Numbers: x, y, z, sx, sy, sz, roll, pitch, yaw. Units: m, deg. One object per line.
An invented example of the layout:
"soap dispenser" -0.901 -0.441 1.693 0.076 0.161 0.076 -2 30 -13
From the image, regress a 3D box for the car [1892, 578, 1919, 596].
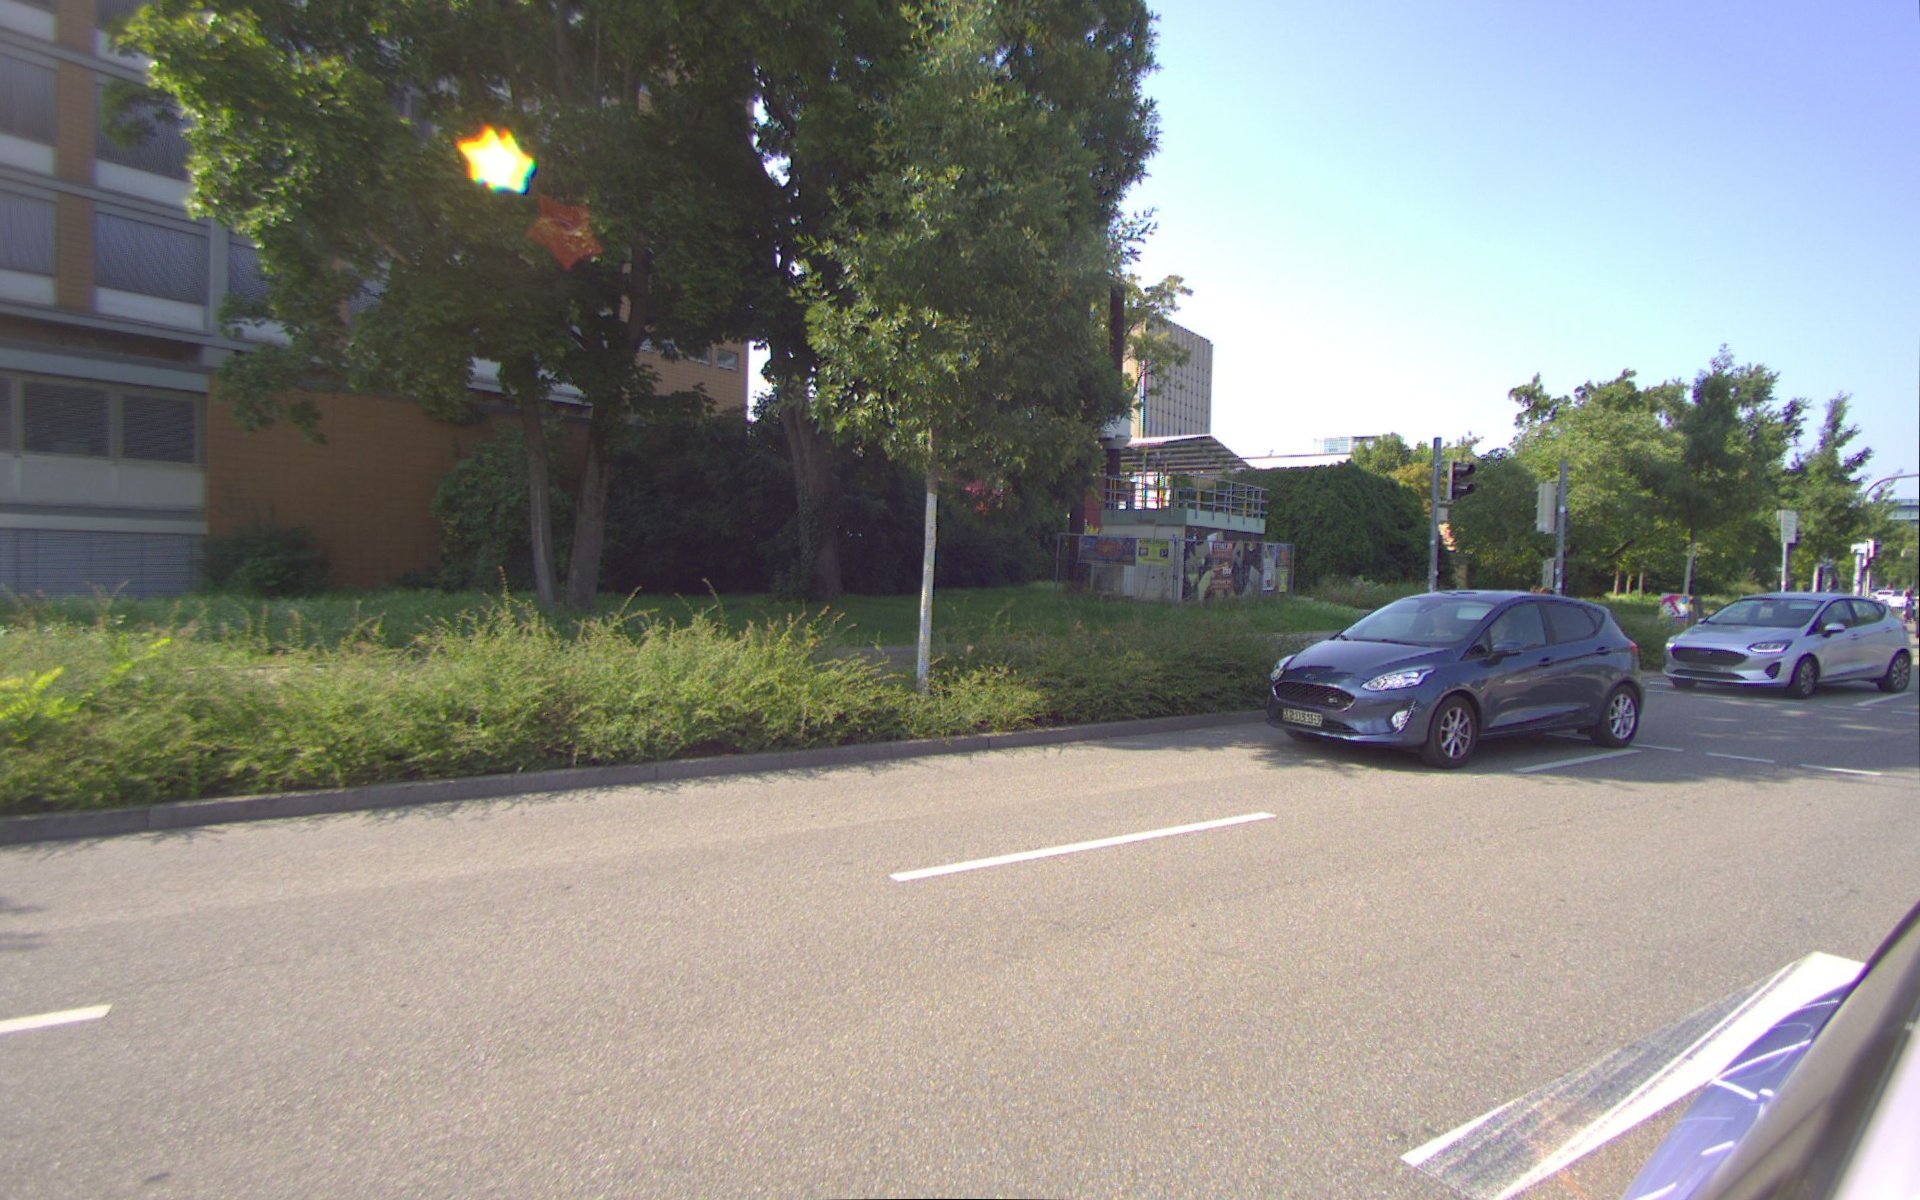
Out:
"car" 93.149 -1.311 99.594 1.824 1.704 3.943 3 2 40

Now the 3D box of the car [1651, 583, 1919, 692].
"car" 12.391 0.496 15.008 3.779 1.451 1.725 0 1 -22

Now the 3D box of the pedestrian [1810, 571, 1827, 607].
"pedestrian" 45.096 -0.573 53.164 0.621 1.868 0.632 3 2 41

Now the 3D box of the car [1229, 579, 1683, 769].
"car" 4.686 0.555 9.430 4.234 1.445 1.643 0 1 -28
